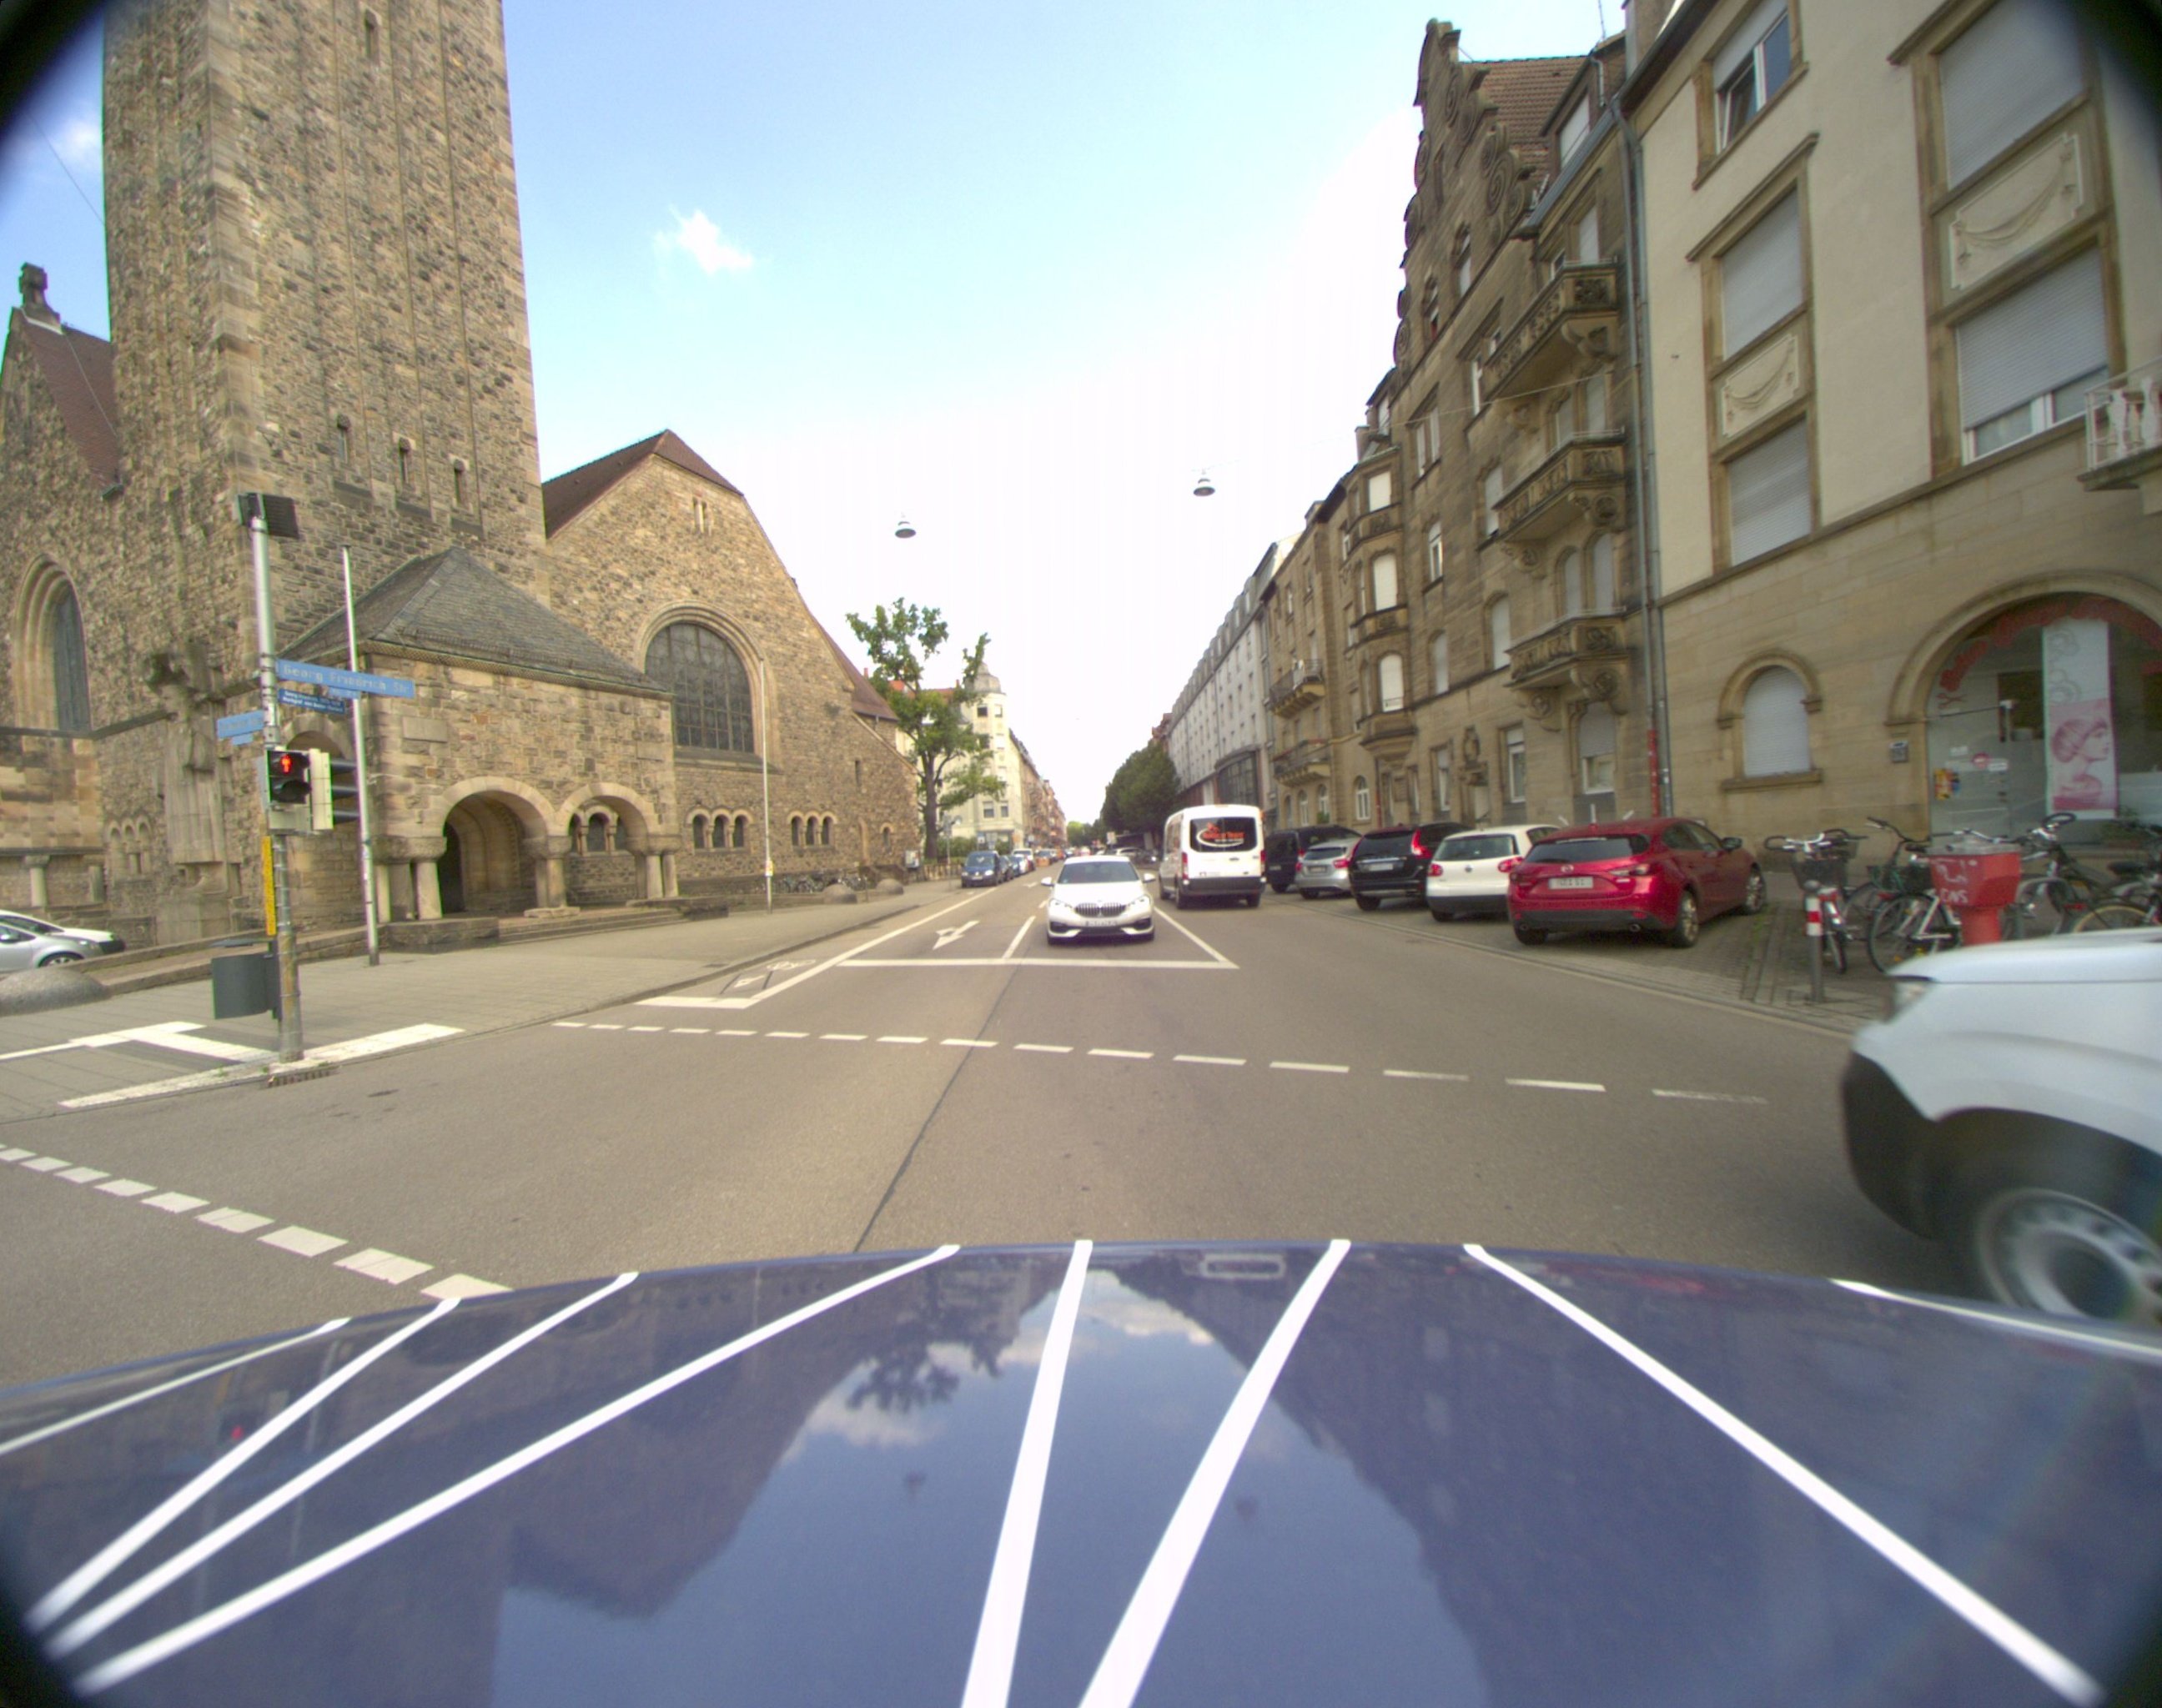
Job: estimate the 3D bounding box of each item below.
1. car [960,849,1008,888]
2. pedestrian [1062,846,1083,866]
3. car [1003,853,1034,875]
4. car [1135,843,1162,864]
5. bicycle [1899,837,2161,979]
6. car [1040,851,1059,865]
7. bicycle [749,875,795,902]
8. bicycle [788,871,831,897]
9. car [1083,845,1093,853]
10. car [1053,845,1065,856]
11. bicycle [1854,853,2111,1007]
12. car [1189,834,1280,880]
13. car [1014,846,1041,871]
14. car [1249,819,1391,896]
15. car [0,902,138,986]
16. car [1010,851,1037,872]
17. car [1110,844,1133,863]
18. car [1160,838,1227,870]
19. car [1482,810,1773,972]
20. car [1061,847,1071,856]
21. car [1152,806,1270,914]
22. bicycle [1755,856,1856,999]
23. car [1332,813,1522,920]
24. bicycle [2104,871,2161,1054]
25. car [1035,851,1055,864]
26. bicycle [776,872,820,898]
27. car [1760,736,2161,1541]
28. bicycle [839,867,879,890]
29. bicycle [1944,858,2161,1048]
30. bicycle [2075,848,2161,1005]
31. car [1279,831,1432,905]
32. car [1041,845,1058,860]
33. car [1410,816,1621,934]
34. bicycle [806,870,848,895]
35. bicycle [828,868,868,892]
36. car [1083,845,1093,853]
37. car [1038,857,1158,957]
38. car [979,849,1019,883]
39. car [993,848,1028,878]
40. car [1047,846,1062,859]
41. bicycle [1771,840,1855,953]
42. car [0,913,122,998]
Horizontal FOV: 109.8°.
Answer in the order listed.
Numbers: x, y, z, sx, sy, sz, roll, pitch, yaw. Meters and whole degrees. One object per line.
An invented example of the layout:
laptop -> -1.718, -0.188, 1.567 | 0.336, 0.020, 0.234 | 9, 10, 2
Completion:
car -> -4.929, 0.692, 39.084 | 1.683, 1.780, 4.145 | -4, 1, 2
pedestrian -> -0.761, 0.179, 70.126 | 1.316, 1.747, 1.370 | -4, 1, -35
car -> -4.519, 0.682, 55.345 | 1.683, 1.438, 3.798 | -4, 1, 2
car -> 5.533, -0.071, 62.524 | 1.891, 1.556, 3.890 | -4, 1, 2
bicycle -> 8.377, 0.453, 6.714 | 1.631, 1.046, 0.558 | -6, 1, 0
car -> -3.699, 0.453, 88.884 | 1.809, 1.360, 4.186 | -4, 1, 2
bicycle -> -13.415, 1.470, 32.981 | 1.935, 1.106, 0.587 | 0, 3, 22
bicycle -> -12.556, 1.377, 35.109 | 1.935, 1.106, 0.587 | 0, 3, 22
car -> 1.431, -0.977, 150.594 | 1.809, 1.590, 4.186 | -4, 1, 2
car -> -4.002, -0.704, 140.246 | 1.809, 1.901, 4.186 | -4, 1, 2
bicycle -> 7.181, 0.583, 6.081 | 1.483, 1.046, 0.462 | -6, 1, -2
car -> 7.019, 0.108, 34.541 | 3.960, 1.576, 1.727 | -7, 0, -38
car -> -4.568, 0.354, 65.361 | 1.844, 1.927, 4.186 | -4, 1, 2
car -> 7.117, 0.095, 22.523 | 3.959, 1.857, 1.727 | -6, 1, -33
car -> -26.894, 2.313, 18.626 | 1.996, 1.842, 4.312 | -5, -1, 25
car -> -4.526, 0.580, 60.611 | 1.683, 1.488, 3.890 | -4, 1, 2
car -> 3.727, -0.076, 70.171 | 1.891, 1.641, 3.890 | -4, 1, 2
car -> 7.011, -0.006, 47.040 | 3.960, 1.576, 1.727 | -6, 0, -38
car -> 7.069, 0.365, 9.692 | 4.005, 1.448, 1.808 | -7, 1, -37
car -> -3.169, -0.553, 164.287 | 1.809, 1.756, 4.186 | -4, 1, 2
car -> 3.294, 0.165, 20.641 | 2.081, 2.430, 5.945 | -2, -1, 0
bicycle -> 6.763, 0.622, 7.078 | 1.815, 1.046, 0.556 | -6, 1, -45
car -> 7.139, 0.226, 15.530 | 3.960, 1.679, 1.799 | -7, 0, -38
bicycle -> 7.031, 0.596, 4.487 | 1.372, 1.046, 0.418 | -6, 1, -1
car -> -3.918, 0.365, 83.329 | 1.809, 1.360, 4.186 | -4, 1, 2
bicycle -> -12.841, 1.407, 34.450 | 1.935, 1.106, 0.587 | 0, 3, 22
car -> 3.250, 0.577, 0.433 | 1.817, 1.765, 4.283 | -3, 0, 0
bicycle -> -11.137, 1.232, 38.153 | 1.935, 1.106, 0.587 | 0, 3, 22
bicycle -> 6.734, 0.626, 5.003 | 1.483, 1.046, 0.462 | -6, 1, 1
bicycle -> 8.304, 0.468, 5.539 | 1.483, 1.046, 0.462 | -6, 1, -2
car -> 7.164, 0.347, 19.675 | 3.960, 1.421, 1.728 | -6, 0, -37
car -> -4.068, -0.179, 97.570 | 1.809, 1.756, 4.186 | -4, 1, 2
car -> 7.424, 0.307, 12.830 | 3.960, 1.448, 1.727 | -7, 0, -40
bicycle -> -12.032, 1.328, 35.968 | 1.935, 1.106, 0.587 | 0, 3, 22
bicycle -> -11.483, 1.267, 37.426 | 1.935, 1.106, 0.587 | 0, 3, 22
car -> 1.463, -1.114, 157.862 | 1.809, 1.590, 4.186 | -4, 1, 2
car -> 0.334, 0.845, 14.083 | 1.826, 1.440, 4.386 | -2, 1, 2
car -> -4.738, 0.655, 44.332 | 1.683, 1.780, 4.000 | -4, 1, 2
car -> -4.654, 0.547, 50.616 | 1.683, 1.780, 4.000 | -4, 1, 2
car -> -3.872, -0.268, 111.149 | 1.809, 1.756, 4.186 | -4, 1, 2
bicycle -> 8.347, 0.438, 8.640 | 1.907, 1.046, 0.556 | -6, 1, -44
car -> -24.076, 2.315, 16.480 | 1.815, 1.668, 3.643 | -5, -1, 23
